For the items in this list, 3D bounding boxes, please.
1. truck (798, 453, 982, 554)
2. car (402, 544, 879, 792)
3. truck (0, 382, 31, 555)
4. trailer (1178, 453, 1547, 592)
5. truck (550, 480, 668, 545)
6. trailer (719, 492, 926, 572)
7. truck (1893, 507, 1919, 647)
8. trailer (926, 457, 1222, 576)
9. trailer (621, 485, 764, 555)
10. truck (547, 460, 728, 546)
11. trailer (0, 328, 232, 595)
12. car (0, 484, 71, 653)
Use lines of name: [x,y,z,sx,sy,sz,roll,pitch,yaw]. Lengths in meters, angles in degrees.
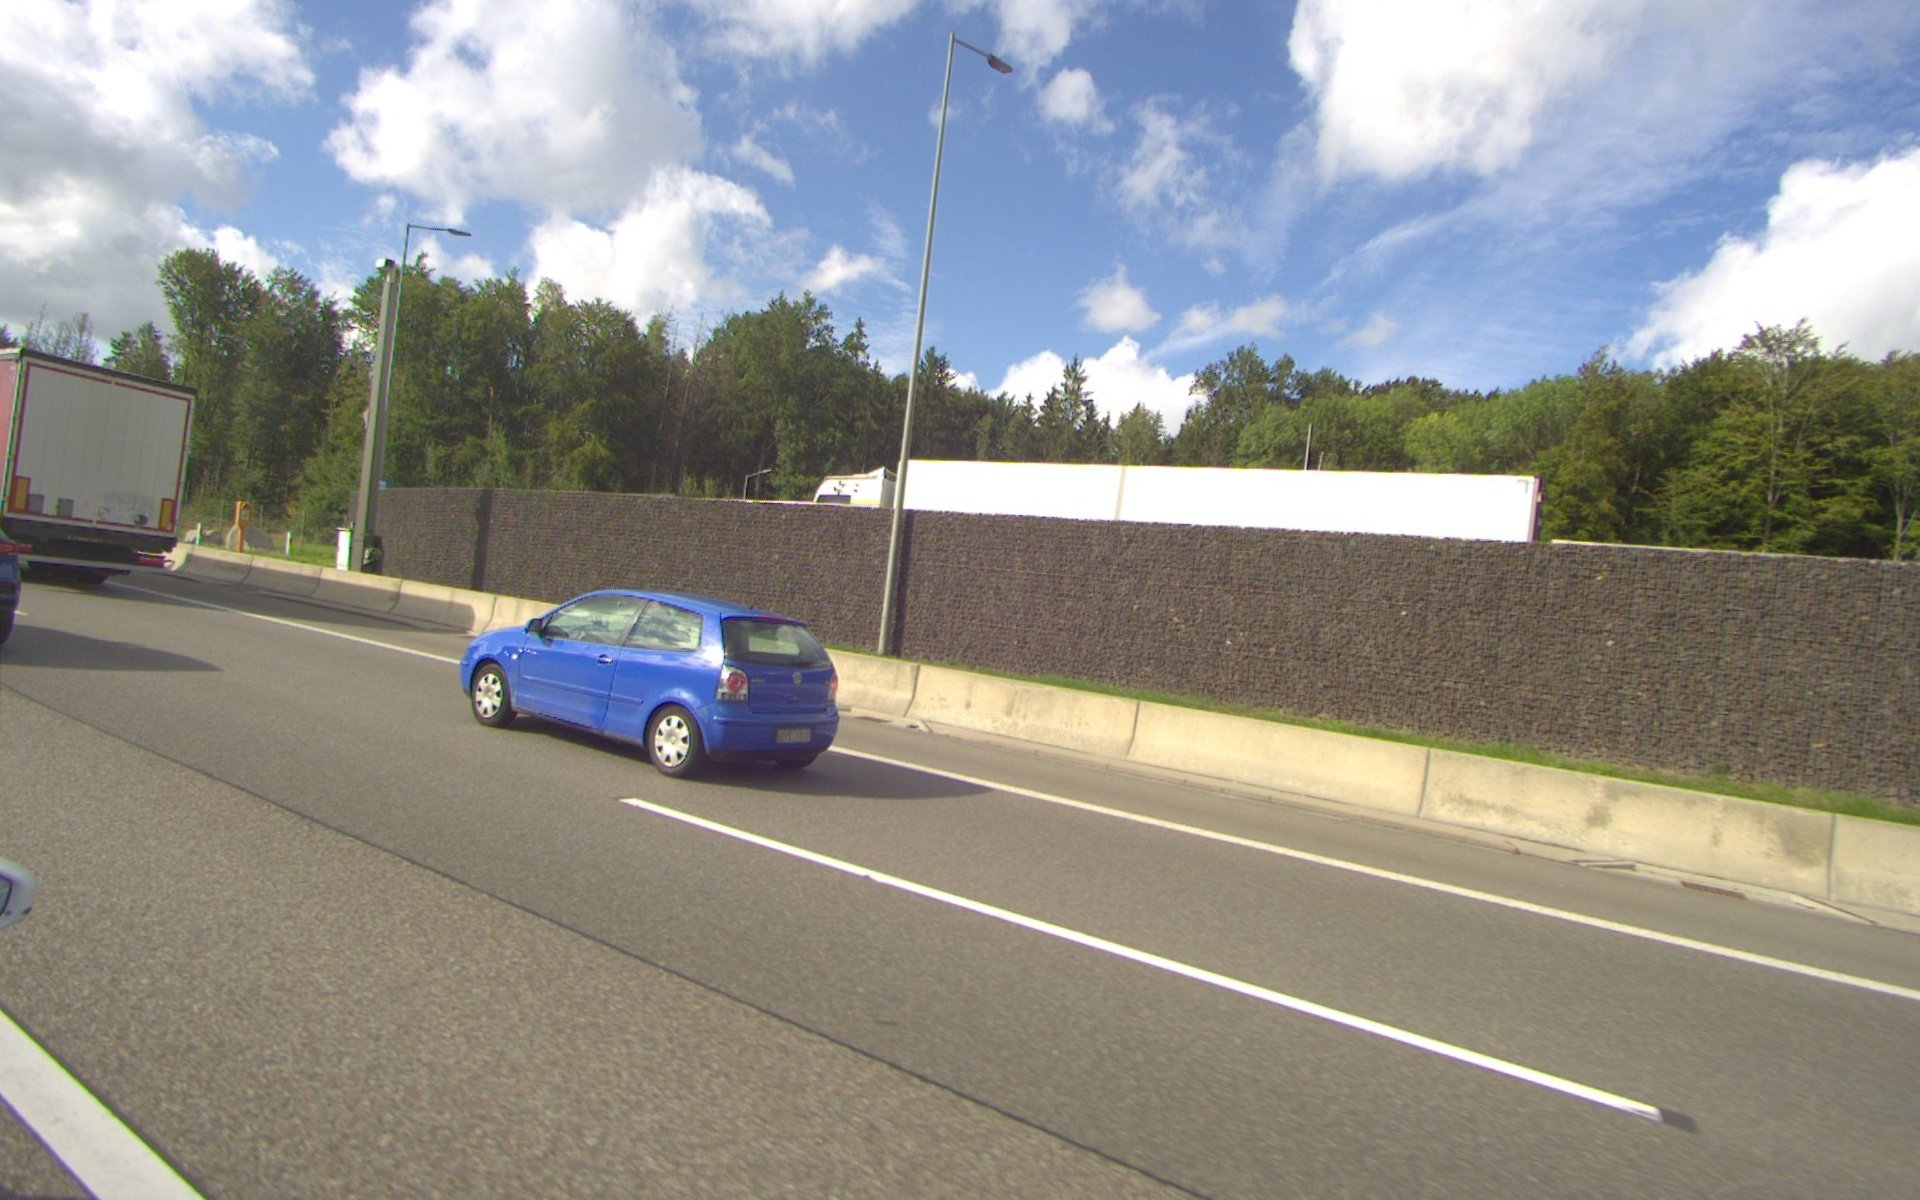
truck: [-1.771,-2.430,25.281,3.933,2.038,2.149,7,0,31]
car: [-3.053,0.532,9.346,4.230,1.529,1.718,7,-1,31]
truck: [-26.318,-3.495,24.870,5.970,4.110,3.086,5,-2,31]
trailer: [7.663,-1.553,19.496,6.216,2.038,2.133,7,0,31]
truck: [-14.012,-3.478,40.161,3.930,2.038,2.220,7,0,27]
trailer: [-4.922,-2.416,35.408,7.159,2.038,2.135,7,0,27]
truck: [16.037,-0.274,13.973,4.029,2.037,2.049,5,-3,31]
trailer: [2.474,-1.919,22.674,6.131,2.038,2.133,7,0,31]
trailer: [-10.159,-3.045,38.176,4.887,2.038,2.206,7,0,27]
truck: [-9.497,-2.824,29.464,5.321,2.037,1.996,4,-3,33]
trailer: [-20.622,-2.737,21.353,13.662,4.081,3.044,5,-2,32]
car: [-11.144,-0.547,10.098,4.567,1.559,1.927,6,-1,31]
